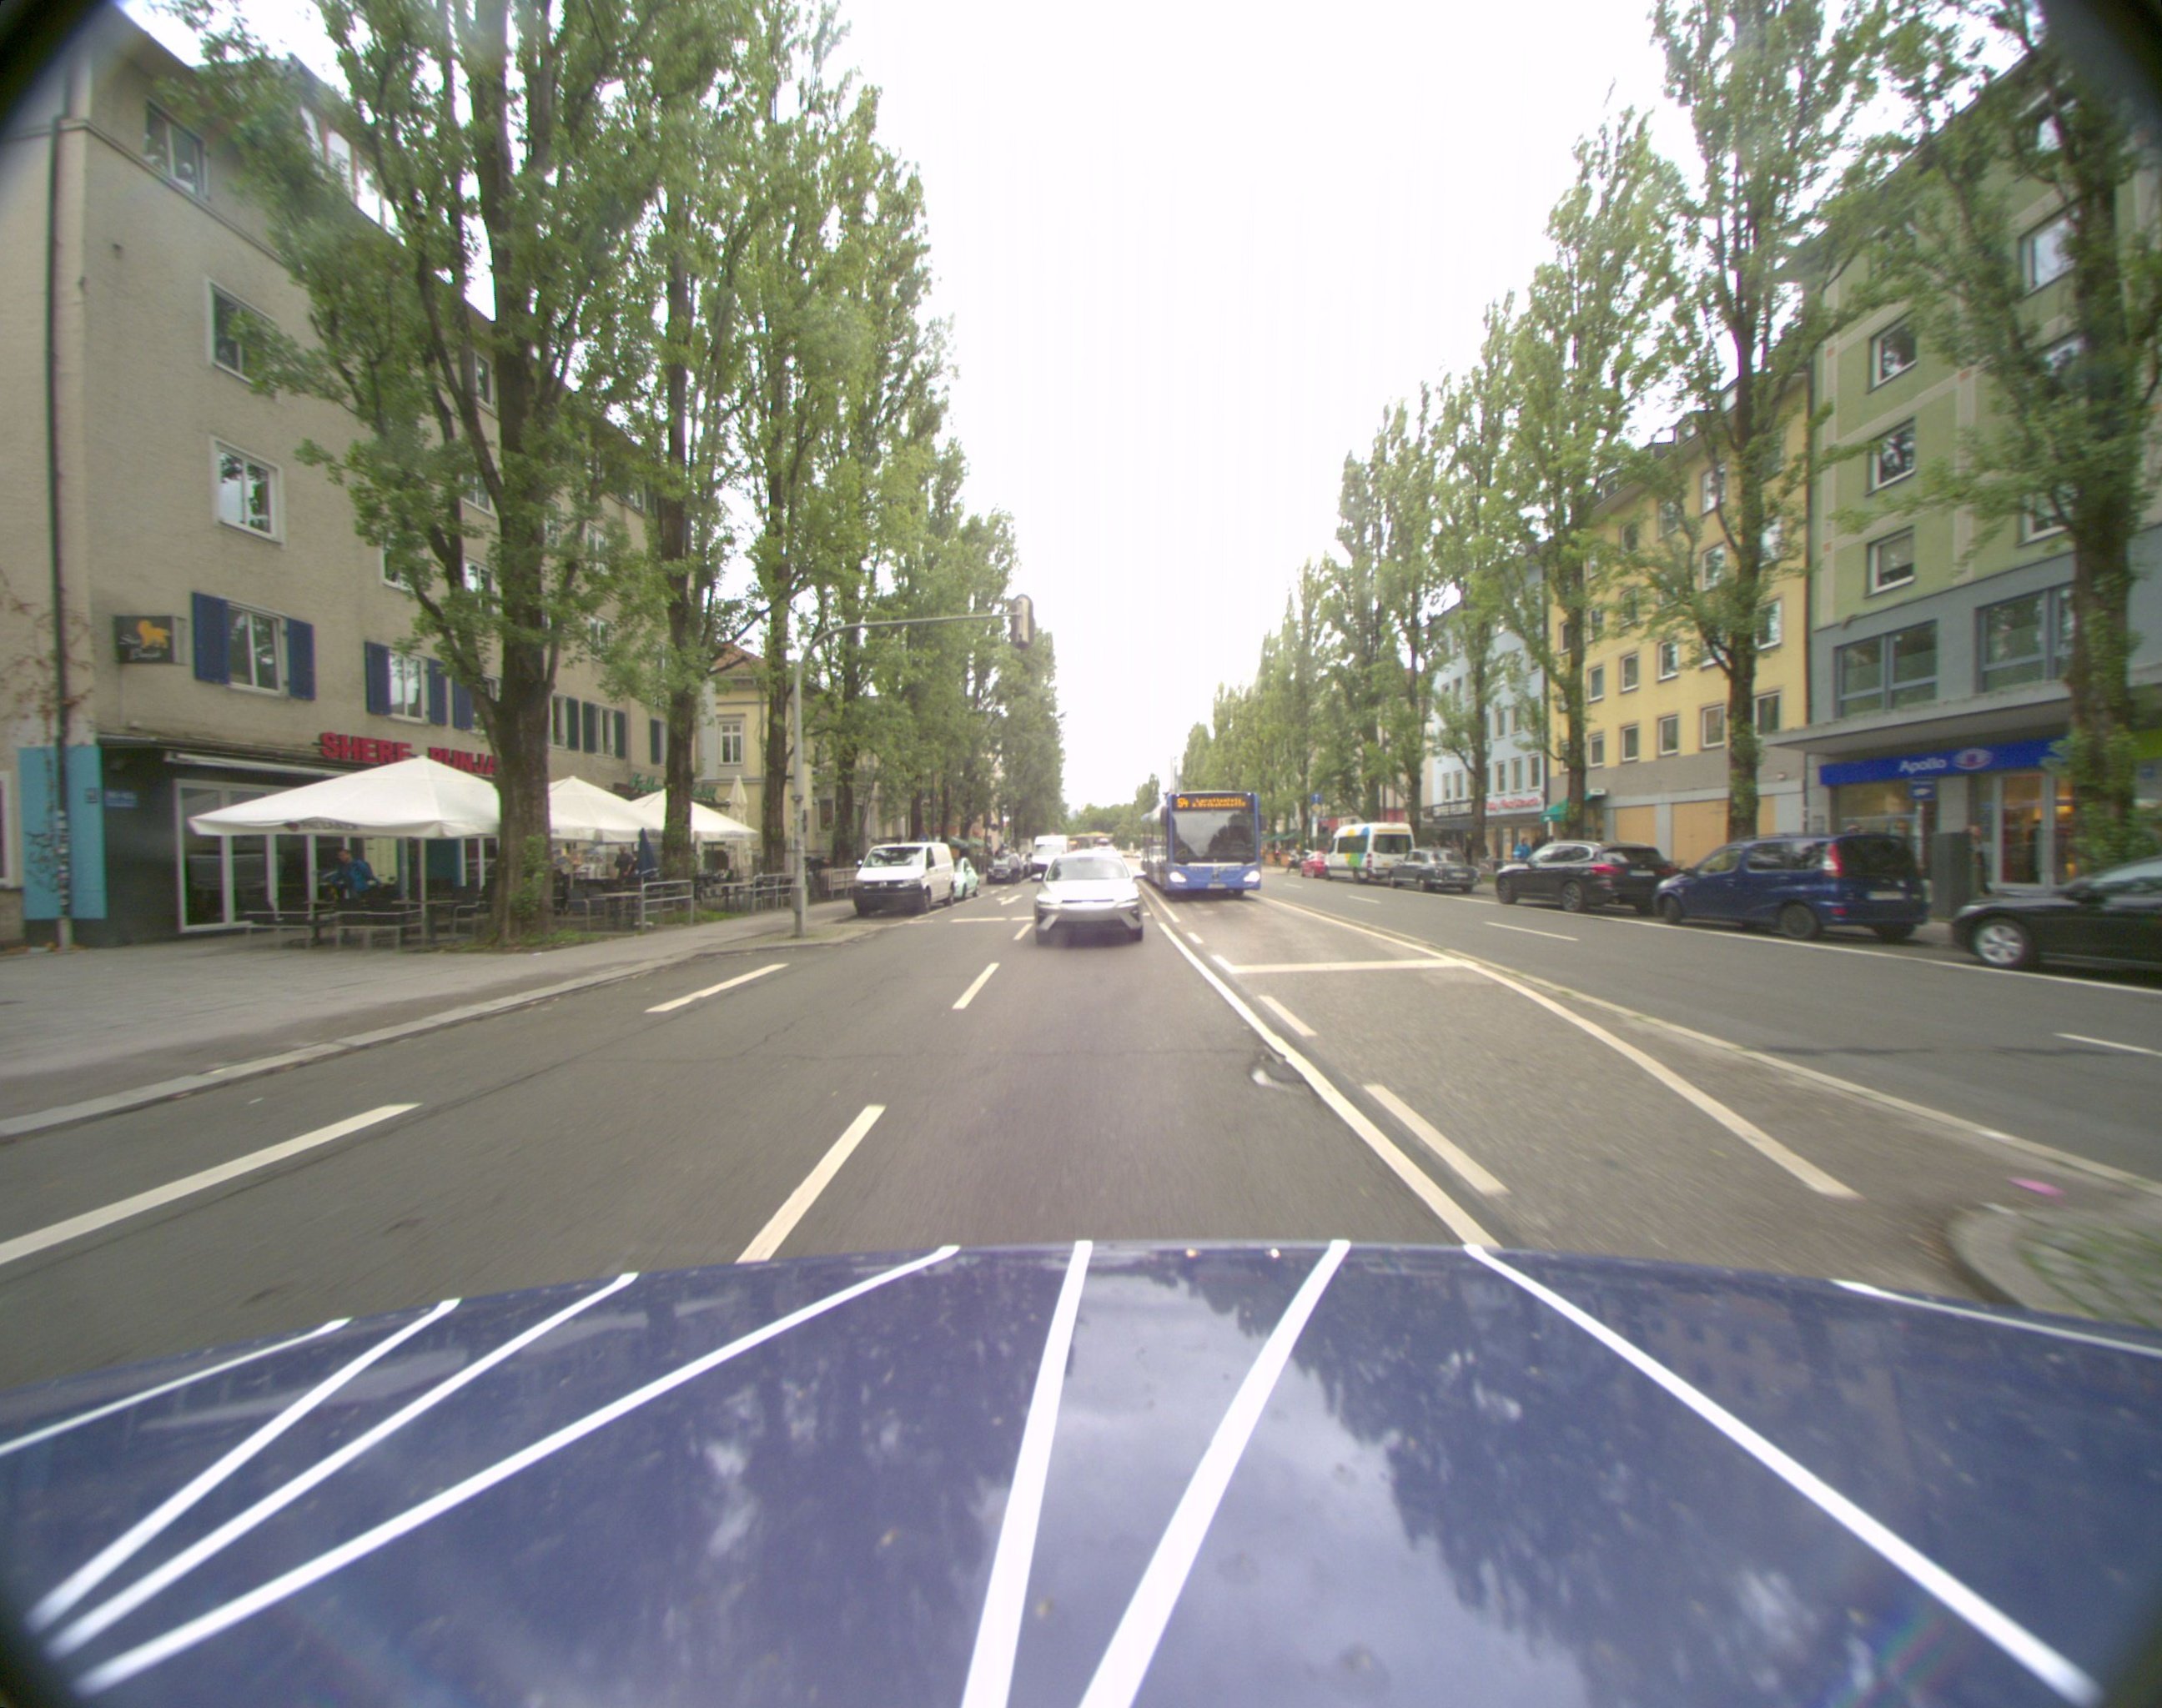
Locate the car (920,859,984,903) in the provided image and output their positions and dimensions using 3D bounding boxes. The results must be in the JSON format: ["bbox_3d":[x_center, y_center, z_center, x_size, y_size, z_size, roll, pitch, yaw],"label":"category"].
[{"bbox_3d":[-4.470,0.893,26.764,1.475,1.389,3.483,-1,1,3],"label":"car"}]

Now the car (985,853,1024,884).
[{"bbox_3d":[-4.005,0.717,40.147,1.475,1.518,3.603,-1,1,3],"label":"car"}]

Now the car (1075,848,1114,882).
[{"bbox_3d":[0.692,0.487,37.329,1.758,1.529,3.916,-2,1,2],"label":"car"}]

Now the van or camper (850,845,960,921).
[{"bbox_3d":[-4.838,0.717,21.630,1.795,1.894,4.566,-2,1,3],"label":"van or camper"}]

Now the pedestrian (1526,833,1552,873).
[{"bbox_3d":[20.792,-0.050,34.515,0.732,1.755,0.724,-1,1,1],"label":"pedestrian"}]

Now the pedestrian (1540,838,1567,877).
[{"bbox_3d":[20.293,0.146,32.623,0.723,1.641,0.712,-1,1,3],"label":"pedestrian"}]

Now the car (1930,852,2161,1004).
[{"bbox_3d":[11.509,0.751,7.282,1.707,1.438,4.585,-1,1,2],"label":"car"}]

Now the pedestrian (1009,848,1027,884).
[{"bbox_3d":[-3.123,0.579,37.553,0.791,1.747,0.769,-1,1,-8],"label":"pedestrian"}]

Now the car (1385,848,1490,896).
[{"bbox_3d":[12.457,0.559,26.866,1.707,1.520,4.260,0,1,1],"label":"car"}]

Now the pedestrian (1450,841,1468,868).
[{"bbox_3d":[20.647,0.037,41.499,0.649,1.430,0.551,-1,1,-2],"label":"pedestrian"}]

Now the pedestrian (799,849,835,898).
[{"bbox_3d":[-9.641,0.706,27.751,0.941,1.756,0.837,-1,1,40],"label":"pedestrian"}]

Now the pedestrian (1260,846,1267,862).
[{"bbox_3d":[17.316,-0.007,72.242,0.609,1.580,0.551,-1,1,13],"label":"pedestrian"}]

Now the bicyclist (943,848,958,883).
[{"bbox_3d":[-6.302,0.547,36.777,0.584,1.668,0.819,-1,1,-1],"label":"bicyclist"}]

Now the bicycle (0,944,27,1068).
[{"bbox_3d":[-9.808,1.272,6.168,1.843,1.003,0.503,-1,1,2],"label":"bicycle"}]

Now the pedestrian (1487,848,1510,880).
[{"bbox_3d":[19.074,0.434,34.690,0.610,1.430,0.677,-1,1,-21],"label":"pedestrian"}]

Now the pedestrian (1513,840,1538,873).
[{"bbox_3d":[19.494,0.105,33.359,0.768,1.430,0.551,-1,1,-2],"label":"pedestrian"}]

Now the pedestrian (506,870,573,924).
[{"bbox_3d":[-12.973,1.008,18.228,0.775,1.209,1.023,-2,1,6],"label":"pedestrian"}]

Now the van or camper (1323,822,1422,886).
[{"bbox_3d":[12.772,-0.022,33.811,2.130,2.536,6.644,-1,1,3],"label":"van or camper"}]

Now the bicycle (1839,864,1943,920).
[{"bbox_3d":[16.620,0.768,15.604,1.679,1.109,0.361,-1,1,3],"label":"bicycle"}]

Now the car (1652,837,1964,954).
[{"bbox_3d":[12.012,0.579,12.961,1.621,1.677,3.770,1,1,0],"label":"car"}]

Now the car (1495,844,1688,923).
[{"bbox_3d":[11.933,0.594,18.207,1.707,1.623,4.503,0,1,2],"label":"car"}]

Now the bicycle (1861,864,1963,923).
[{"bbox_3d":[16.602,0.794,15.190,1.657,1.144,0.286,-1,1,3],"label":"bicycle"}]

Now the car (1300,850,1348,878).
[{"bbox_3d":[12.948,0.518,40.740,1.559,1.403,3.761,-1,1,3],"label":"car"}]

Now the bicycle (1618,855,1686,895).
[{"bbox_3d":[16.557,0.613,22.039,1.679,1.109,0.358,-1,1,3],"label":"bicycle"}]

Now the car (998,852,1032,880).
[{"bbox_3d":[-3.794,0.681,44.186,1.475,1.518,3.603,-1,1,3],"label":"car"}]

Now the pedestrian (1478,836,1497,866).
[{"bbox_3d":[22.994,-0.180,43.020,0.723,1.641,0.706,-1,1,3],"label":"pedestrian"}]

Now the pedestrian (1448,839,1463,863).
[{"bbox_3d":[22.319,-0.192,45.345,0.609,1.430,0.551,-1,1,-2],"label":"pedestrian"}]

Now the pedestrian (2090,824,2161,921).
[{"bbox_3d":[20.059,0.339,14.453,0.749,1.784,0.716,-1,1,3],"label":"pedestrian"}]

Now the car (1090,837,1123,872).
[{"bbox_3d":[1.720,0.019,51.613,2.024,2.235,4.411,-2,1,2],"label":"car"}]

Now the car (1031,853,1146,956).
[{"bbox_3d":[0.174,0.779,13.681,1.758,1.529,3.916,-1,1,2],"label":"car"}]

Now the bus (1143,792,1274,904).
[{"bbox_3d":[3.861,-0.219,26.291,2.806,2.886,12.858,-1,1,2],"label":"bus"}]

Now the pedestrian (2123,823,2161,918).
[{"bbox_3d":[20.686,0.312,14.437,0.749,1.784,0.716,-1,1,3],"label":"pedestrian"}]

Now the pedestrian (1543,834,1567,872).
[{"bbox_3d":[21.543,-0.045,34.516,0.640,1.694,0.724,-1,1,2],"label":"pedestrian"}]

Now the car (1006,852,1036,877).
[{"bbox_3d":[-3.830,0.674,49.089,1.475,1.518,3.603,-1,1,3],"label":"car"}]

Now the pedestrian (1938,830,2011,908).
[{"bbox_3d":[19.384,0.322,16.495,0.723,1.641,0.712,-1,1,3],"label":"pedestrian"}]

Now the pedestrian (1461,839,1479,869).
[{"bbox_3d":[22.058,0.004,43.100,0.723,1.641,0.678,-1,1,3],"label":"pedestrian"}]

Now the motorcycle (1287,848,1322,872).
[{"bbox_3d":[13.831,0.371,47.009,2.023,1.413,0.570,-1,1,-5],"label":"motorcycle"}]

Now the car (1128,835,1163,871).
[{"bbox_3d":[4.326,-0.077,51.466,2.024,2.235,4.411,-2,1,2],"label":"car"}]

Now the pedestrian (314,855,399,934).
[{"bbox_3d":[-15.431,0.836,16.210,0.764,1.594,1.016,-2,1,3],"label":"pedestrian"}]

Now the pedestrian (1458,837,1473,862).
[{"bbox_3d":[22.980,-0.274,45.368,0.609,1.430,0.551,-1,1,-2],"label":"pedestrian"}]

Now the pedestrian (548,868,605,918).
[{"bbox_3d":[-12.874,0.984,19.430,0.667,1.209,1.023,-2,1,6],"label":"pedestrian"}]

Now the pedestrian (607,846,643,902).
[{"bbox_3d":[-14.431,0.622,24.058,0.629,1.709,0.681,-2,1,3],"label":"pedestrian"}]

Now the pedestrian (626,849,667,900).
[{"bbox_3d":[-13.746,0.647,24.050,0.696,1.568,0.874,-2,1,3],"label":"pedestrian"}]

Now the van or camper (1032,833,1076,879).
[{"bbox_3d":[-1.470,0.089,44.085,1.998,2.470,6.644,-1,1,3],"label":"van or camper"}]

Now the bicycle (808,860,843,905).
[{"bbox_3d":[-8.510,0.911,25.238,0.829,1.403,2.595,-2,1,-24],"label":"bicycle"}]

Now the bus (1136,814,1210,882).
[{"bbox_3d":[4.405,-0.317,39.128,2.805,2.886,12.858,-1,1,3],"label":"bus"}]
